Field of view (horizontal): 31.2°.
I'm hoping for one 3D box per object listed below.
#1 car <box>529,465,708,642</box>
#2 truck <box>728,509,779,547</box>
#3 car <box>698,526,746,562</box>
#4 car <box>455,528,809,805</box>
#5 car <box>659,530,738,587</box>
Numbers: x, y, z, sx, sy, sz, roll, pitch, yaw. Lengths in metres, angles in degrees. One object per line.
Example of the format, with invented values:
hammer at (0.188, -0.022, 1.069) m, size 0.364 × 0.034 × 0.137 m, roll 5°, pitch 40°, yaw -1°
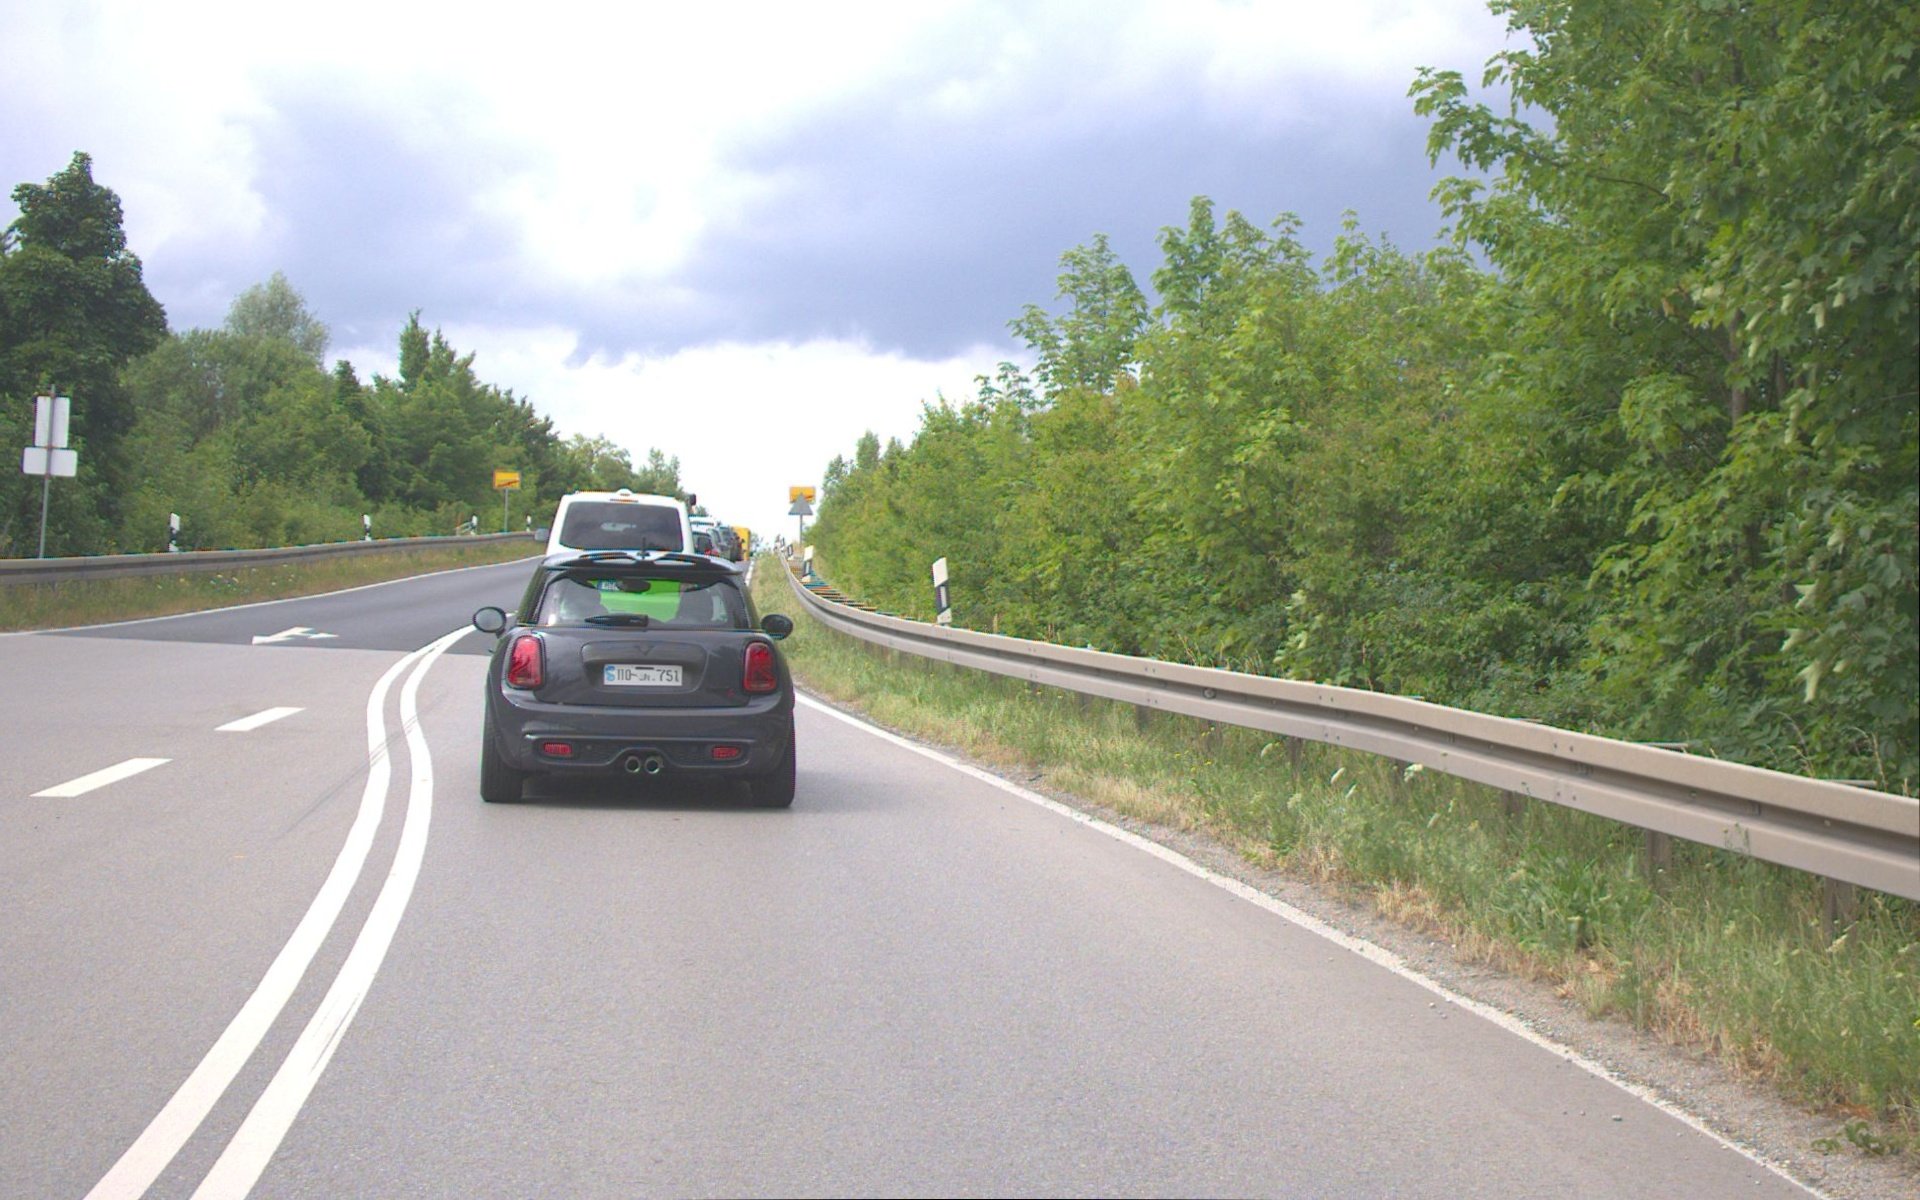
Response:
car at (-4.212, -0.589, 42.052) m, size 2.022 × 2.006 × 4.001 m, roll 2°, pitch 1°, yaw -7°
truck at (-12.963, -4.549, 216.426) m, size 2.909 × 2.364 × 10.453 m, roll 0°, pitch 1°, yaw -2°
car at (-9.263, -2.179, 133.977) m, size 1.694 × 1.315 × 4.001 m, roll 1°, pitch 2°, yaw -1°
car at (-2.042, 0.324, 20.421) m, size 1.731 × 1.451 × 4.001 m, roll 1°, pitch 1°, yaw -10°
car at (-6.038, -0.979, 79.596) m, size 1.694 × 1.218 × 4.001 m, roll 1°, pitch 2°, yaw -3°
